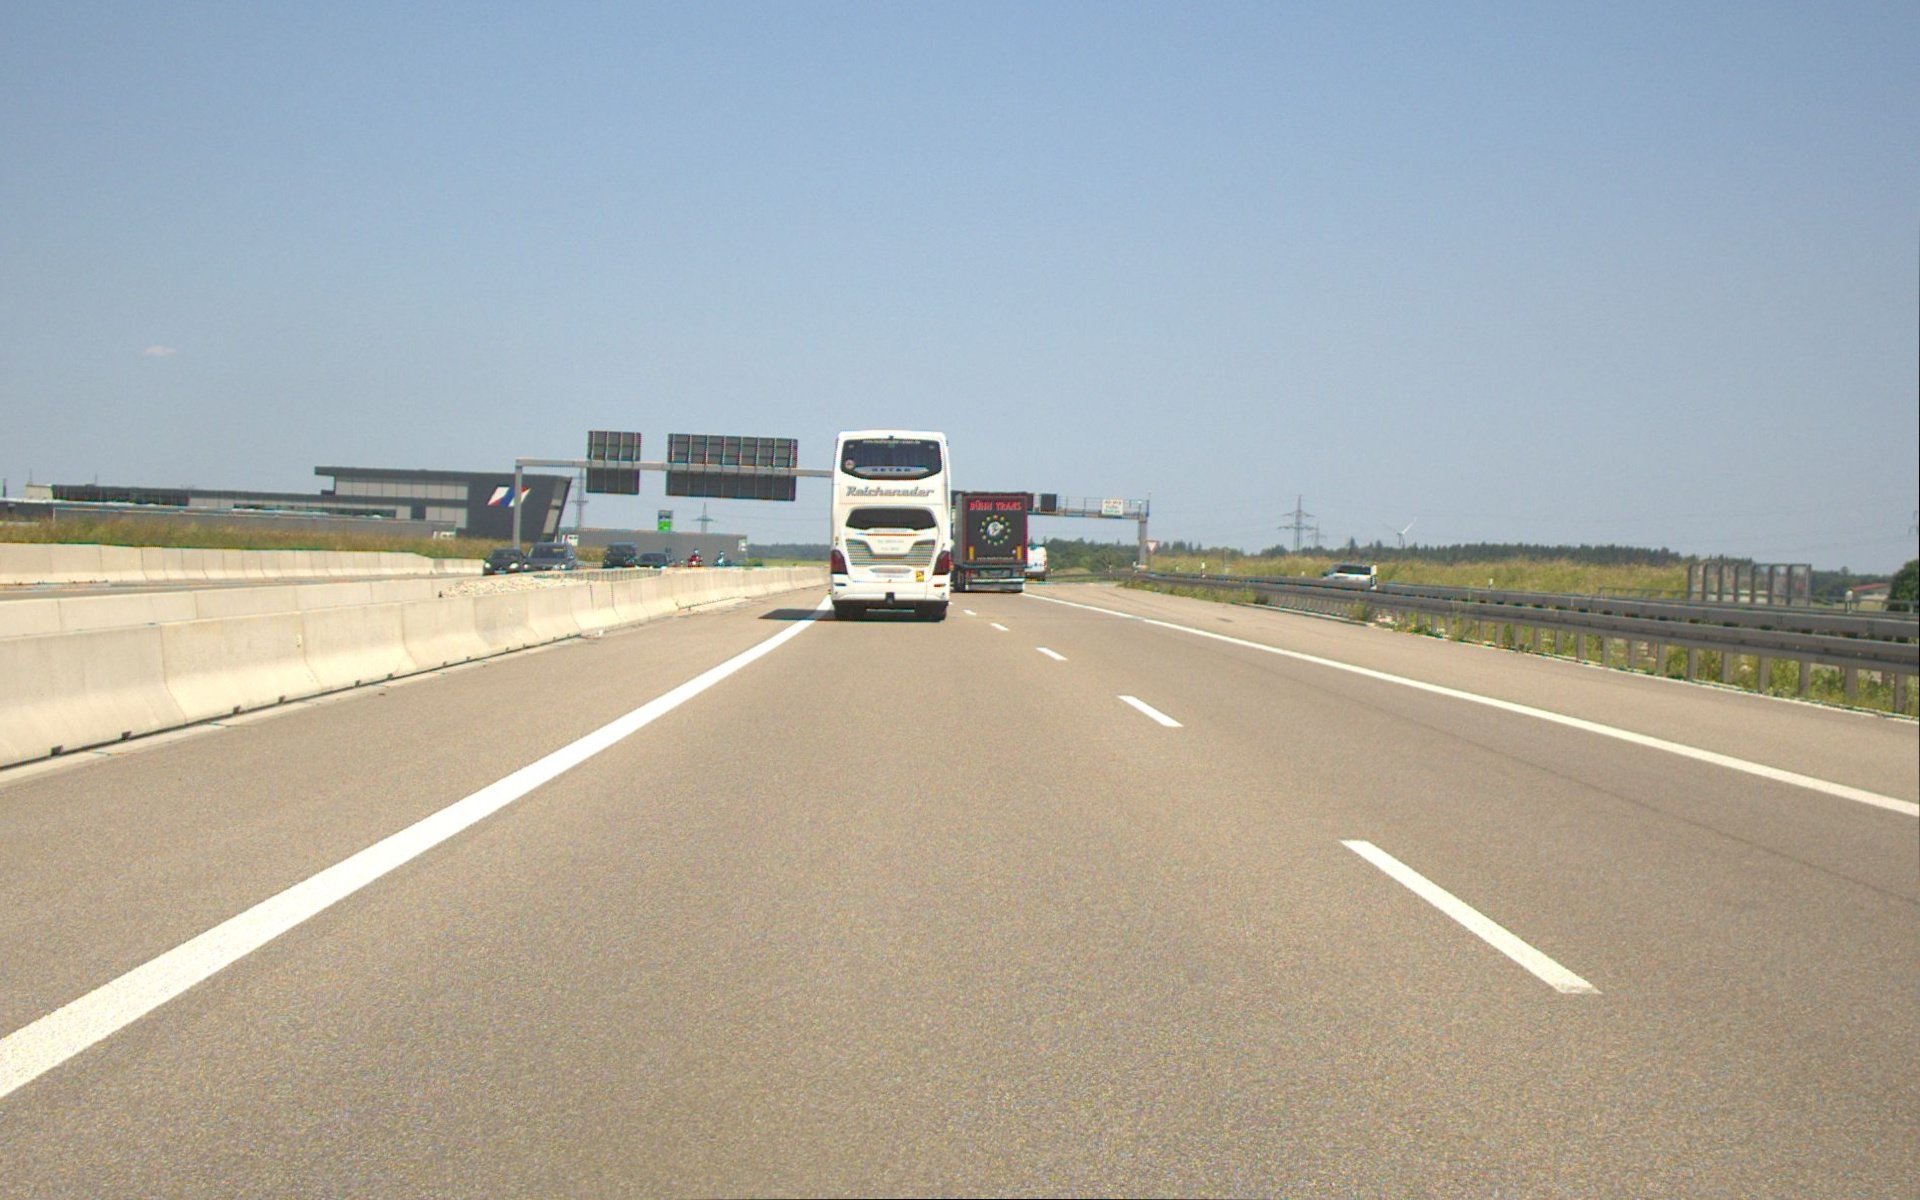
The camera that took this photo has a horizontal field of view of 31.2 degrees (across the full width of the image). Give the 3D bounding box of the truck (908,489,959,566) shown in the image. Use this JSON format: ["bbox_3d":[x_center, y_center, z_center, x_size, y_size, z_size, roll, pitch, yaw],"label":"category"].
[{"bbox_3d":[-1.374,-3.685,174.998,2.437,3.776,6.494,1,1,-1],"label":"truck"}]

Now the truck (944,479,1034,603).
[{"bbox_3d":[1.278,-2.294,141.093,3.379,4.449,13.565,2,-1,1],"label":"truck"}]

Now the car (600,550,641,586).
[{"bbox_3d":[-19.642,-1.861,199.011,1.885,2.011,4.735,1,1,0],"label":"car"}]

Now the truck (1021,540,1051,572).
[{"bbox_3d":[5.708,-3.299,259.154,1.993,2.335,4.951,1,1,-1],"label":"truck"}]

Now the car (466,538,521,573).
[{"bbox_3d":[-20.388,-1.961,150.454,1.910,1.454,4.285,1,1,-2],"label":"car"}]

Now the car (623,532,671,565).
[{"bbox_3d":[-16.318,-2.704,179.343,1.993,1.663,4.649,1,1,0],"label":"car"}]

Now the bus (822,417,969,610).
[{"bbox_3d":[-1.489,-1.897,76.327,2.980,3.961,9.106,1,1,-2],"label":"bus"}]

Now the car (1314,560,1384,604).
[{"bbox_3d":[14.232,-0.671,125.860,1.891,1.524,4.262,1,1,-2],"label":"car"}]
